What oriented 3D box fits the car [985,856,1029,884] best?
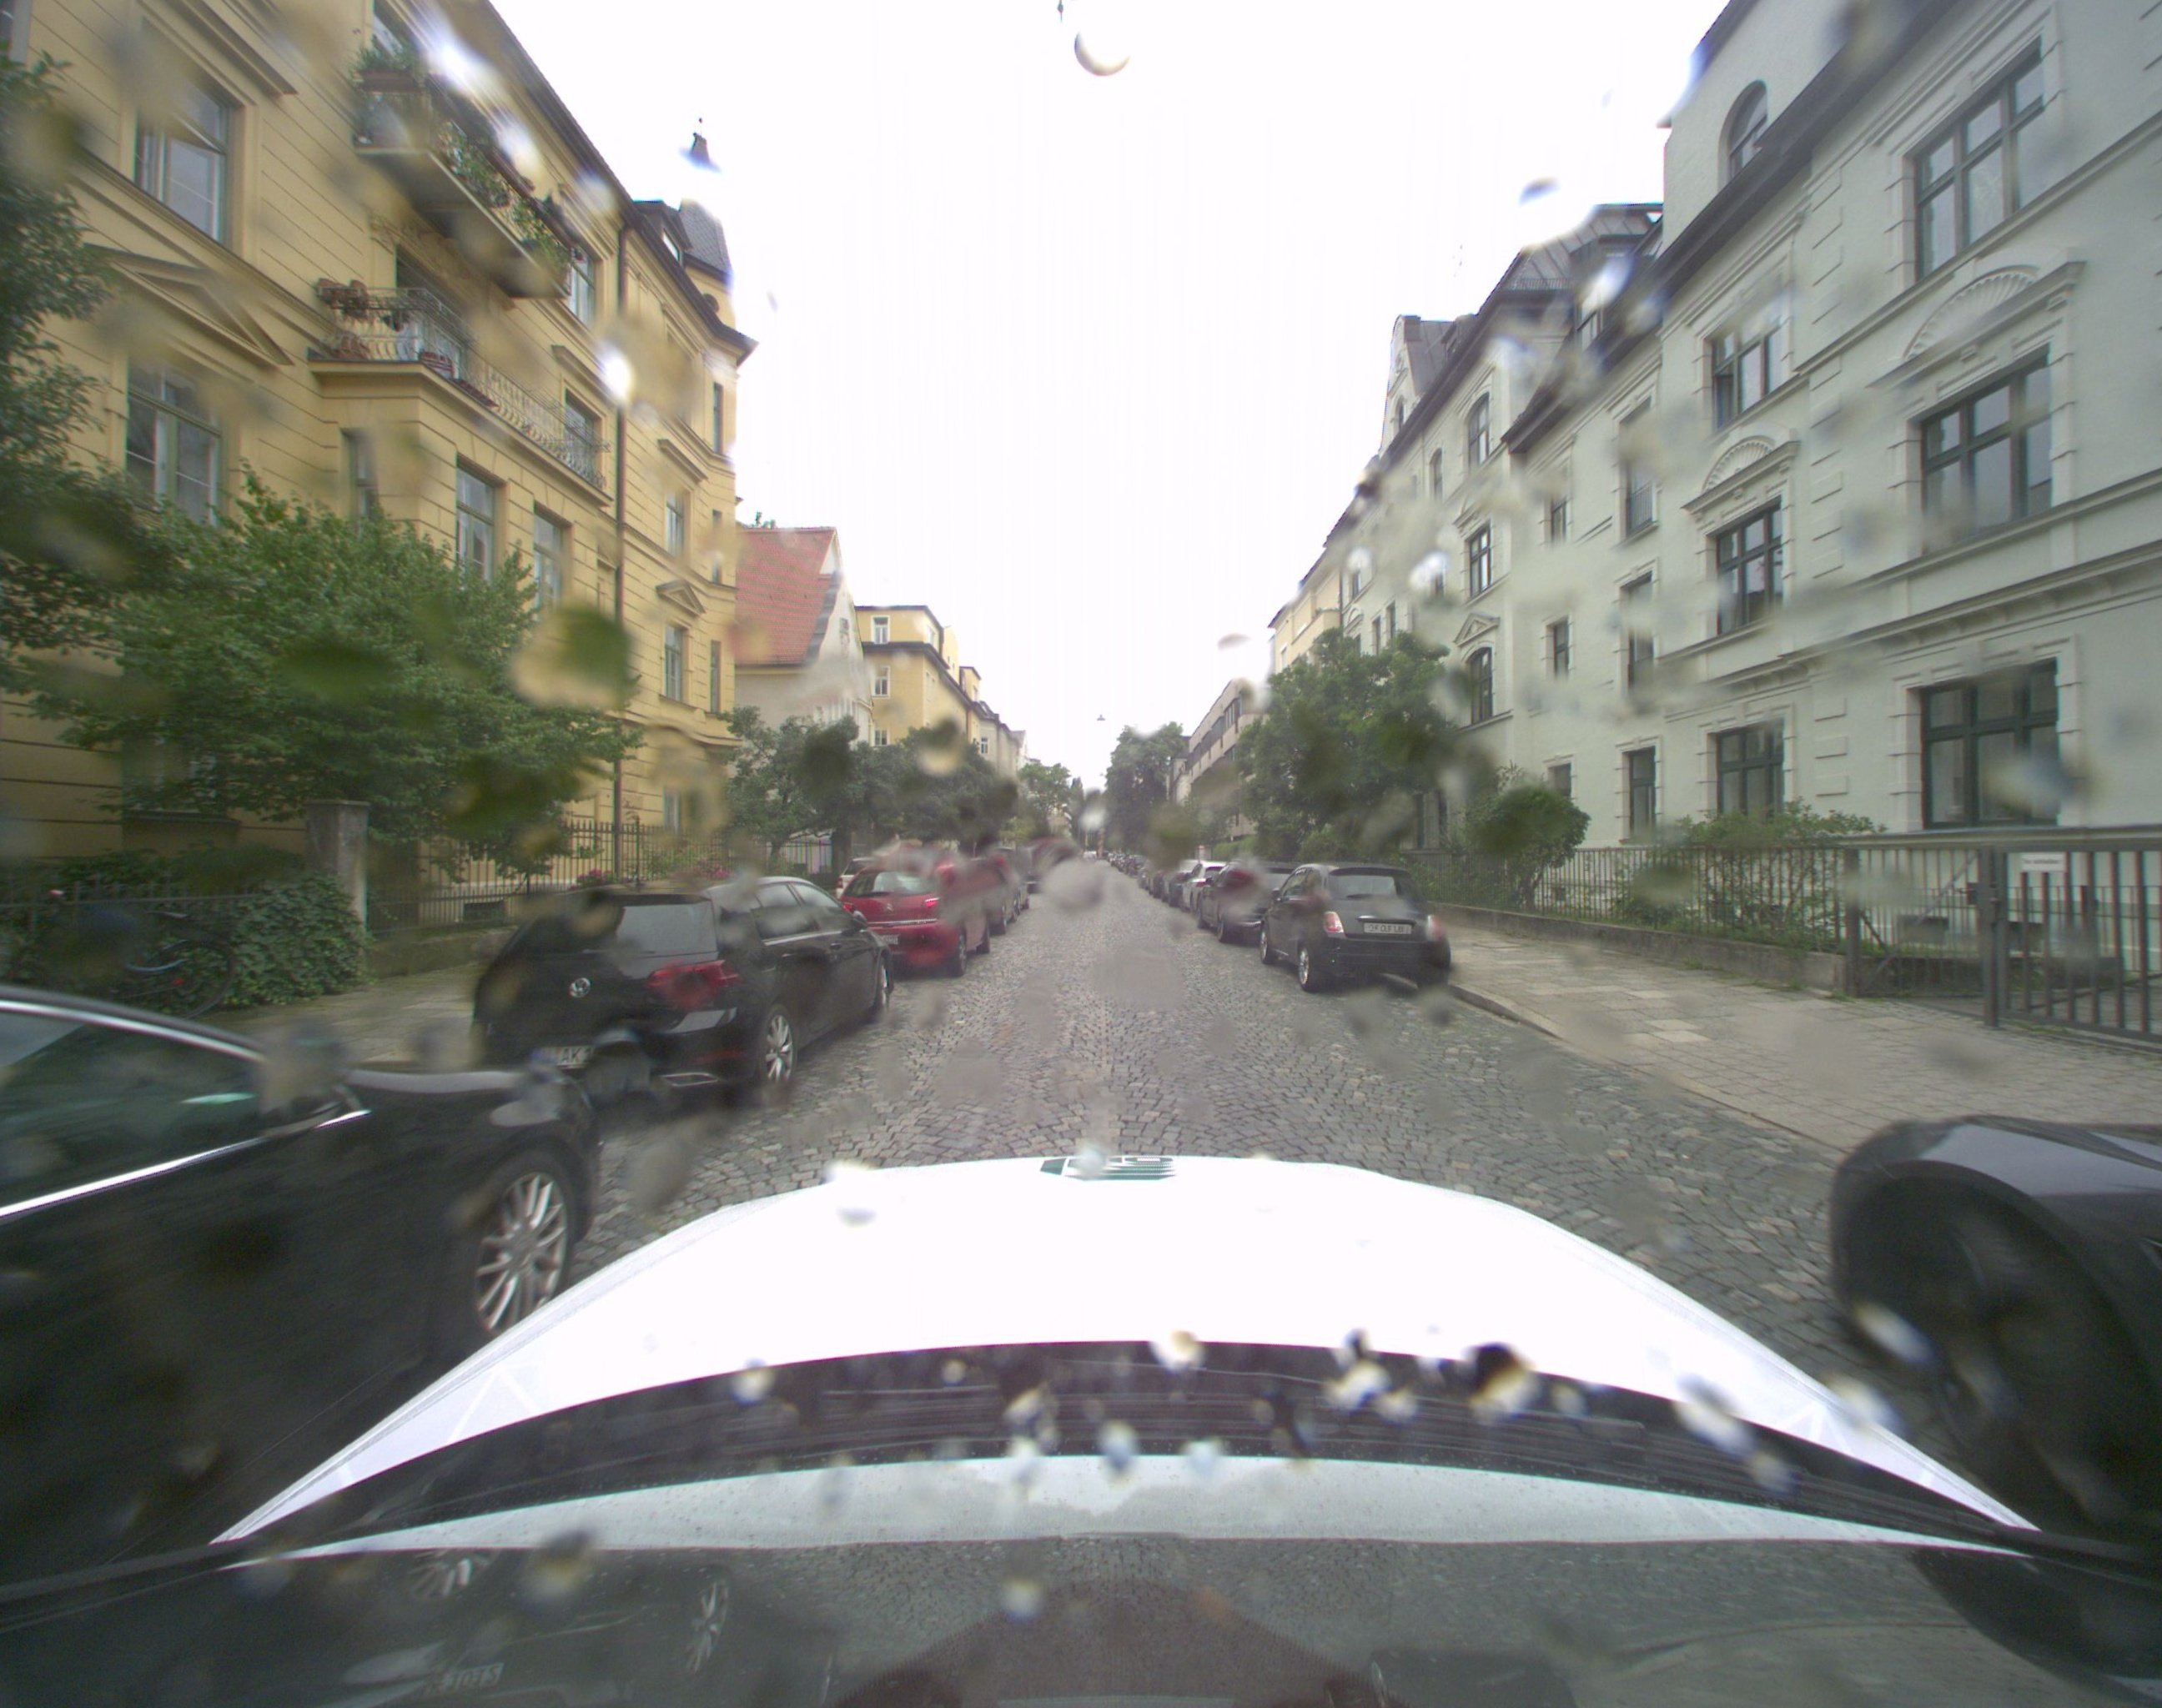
[{"bbox_3d":[-3.985,0.822,44.326,1.769,1.417,4.564,1,0,2],"label":"car"}]

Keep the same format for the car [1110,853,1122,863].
[{"bbox_3d":[5.994,0.694,139.097,1.867,1.503,4.510,2,0,-1],"label":"car"}]

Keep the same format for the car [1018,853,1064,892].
[{"bbox_3d":[-1.761,0.797,37.056,1.734,1.603,4.537,-2,0,1],"label":"car"}]

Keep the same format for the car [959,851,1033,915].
[{"bbox_3d":[-2.324,0.761,23.248,1.735,1.586,4.189,-2,0,-2],"label":"car"}]

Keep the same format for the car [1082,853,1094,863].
[{"bbox_3d":[1.232,0.673,146.961,1.867,1.580,4.254,-3,0,-1],"label":"car"}]

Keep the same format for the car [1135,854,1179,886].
[{"bbox_3d":[3.877,0.773,42.162,1.986,1.552,4.988,1,0,2],"label":"car"}]

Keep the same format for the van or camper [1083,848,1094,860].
[{"bbox_3d":[1.651,0.007,179.921,1.986,2.652,4.002,-3,0,2],"label":"van or camper"}]

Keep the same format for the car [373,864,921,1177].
[{"bbox_3d":[-2.731,0.895,6.584,1.812,1.509,4.642,-4,-1,0],"label":"car"}]

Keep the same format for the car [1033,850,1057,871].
[{"bbox_3d":[-3.336,0.582,76.993,1.987,1.931,5.330,1,0,0],"label":"car"}]

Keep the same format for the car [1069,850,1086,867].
[{"bbox_3d":[-0.369,0.536,95.908,1.867,1.917,4.827,-3,0,1],"label":"car"}]

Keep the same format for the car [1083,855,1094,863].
[{"bbox_3d":[1.517,0.982,165.052,1.864,1.580,4.213,1,0,5],"label":"car"}]

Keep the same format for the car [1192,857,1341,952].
[{"bbox_3d":[3.408,0.836,16.027,1.897,1.503,5.107,2,0,2],"label":"car"}]

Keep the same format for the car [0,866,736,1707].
[{"bbox_3d":[-2.611,0.829,1.440,1.803,1.499,4.514,-2,0,3],"label":"car"}]

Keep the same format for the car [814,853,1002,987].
[{"bbox_3d":[-2.336,0.824,12.126,1.835,1.586,4.191,-2,0,0],"label":"car"}]

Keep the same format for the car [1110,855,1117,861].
[{"bbox_3d":[8.035,0.958,200.784,1.783,1.520,4.002,-1,0,2],"label":"car"}]

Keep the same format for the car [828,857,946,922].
[{"bbox_3d":[-4.776,0.824,20.755,1.835,1.466,4.391,0,0,1],"label":"car"}]

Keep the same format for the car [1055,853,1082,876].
[{"bbox_3d":[-1.021,0.876,71.344,1.998,1.809,5.177,-3,0,2],"label":"car"}]

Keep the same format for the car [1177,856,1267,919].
[{"bbox_3d":[3.628,0.804,21.692,1.749,1.460,4.482,2,0,2],"label":"car"}]

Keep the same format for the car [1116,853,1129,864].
[{"bbox_3d":[6.156,0.696,121.385,1.830,1.490,4.424,2,0,2],"label":"car"}]

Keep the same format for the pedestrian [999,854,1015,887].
[{"bbox_3d":[-3.789,0.848,41.733,0.763,1.650,0.583,0,0,2],"label":"pedestrian"}]

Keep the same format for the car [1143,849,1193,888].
[{"bbox_3d":[3.932,0.644,37.284,1.887,1.654,4.295,1,0,1],"label":"car"}]

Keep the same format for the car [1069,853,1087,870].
[{"bbox_3d":[-0.379,0.840,90.787,1.860,1.735,4.401,-3,0,-1],"label":"car"}]

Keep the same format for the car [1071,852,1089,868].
[{"bbox_3d":[-0.120,0.748,102.365,1.986,1.917,5.177,-4,0,1],"label":"car"}]

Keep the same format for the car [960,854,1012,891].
[{"bbox_3d":[-4.266,0.806,37.170,1.733,1.536,4.467,1,0,1],"label":"car"}]

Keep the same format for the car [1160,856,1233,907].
[{"bbox_3d":[3.708,0.840,26.944,1.875,1.488,4.816,2,0,2],"label":"car"}]

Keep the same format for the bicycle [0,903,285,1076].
[{"bbox_3d":[-7.343,0.962,6.335,0.471,1.051,1.760,2,-1,2],"label":"bicycle"}]

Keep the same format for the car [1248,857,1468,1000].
[{"bbox_3d":[3.411,0.816,10.753,1.661,1.508,3.686,2,0,1],"label":"car"}]

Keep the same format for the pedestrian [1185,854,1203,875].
[{"bbox_3d":[8.598,0.798,62.173,1.211,1.493,1.130,-3,0,3],"label":"pedestrian"}]

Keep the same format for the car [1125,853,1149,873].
[{"bbox_3d":[4.913,0.767,72.097,1.854,1.702,4.814,2,0,1],"label":"car"}]

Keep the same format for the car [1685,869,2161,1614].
[{"bbox_3d":[3.083,0.802,0.727,1.929,1.465,4.536,1,0,3],"label":"car"}]

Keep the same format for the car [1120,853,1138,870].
[{"bbox_3d":[5.207,0.774,88.390,1.865,1.735,4.895,1,0,3],"label":"car"}]

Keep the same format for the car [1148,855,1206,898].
[{"bbox_3d":[3.695,0.812,32.081,1.812,1.488,5.052,2,0,2],"label":"car"}]

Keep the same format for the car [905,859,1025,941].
[{"bbox_3d":[-2.357,0.884,17.912,1.864,1.470,5.133,-2,0,0],"label":"car"}]

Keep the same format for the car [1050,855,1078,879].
[{"bbox_3d":[-1.161,0.896,57.973,1.707,1.562,4.391,-3,0,1],"label":"car"}]

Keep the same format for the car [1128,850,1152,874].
[{"bbox_3d":[4.574,0.629,63.641,1.613,1.751,3.887,2,0,0],"label":"car"}]

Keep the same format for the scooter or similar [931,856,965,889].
[{"bbox_3d":[-6.277,0.855,38.634,1.058,1.523,2.636,-1,0,2],"label":"scooter or similar"}]
